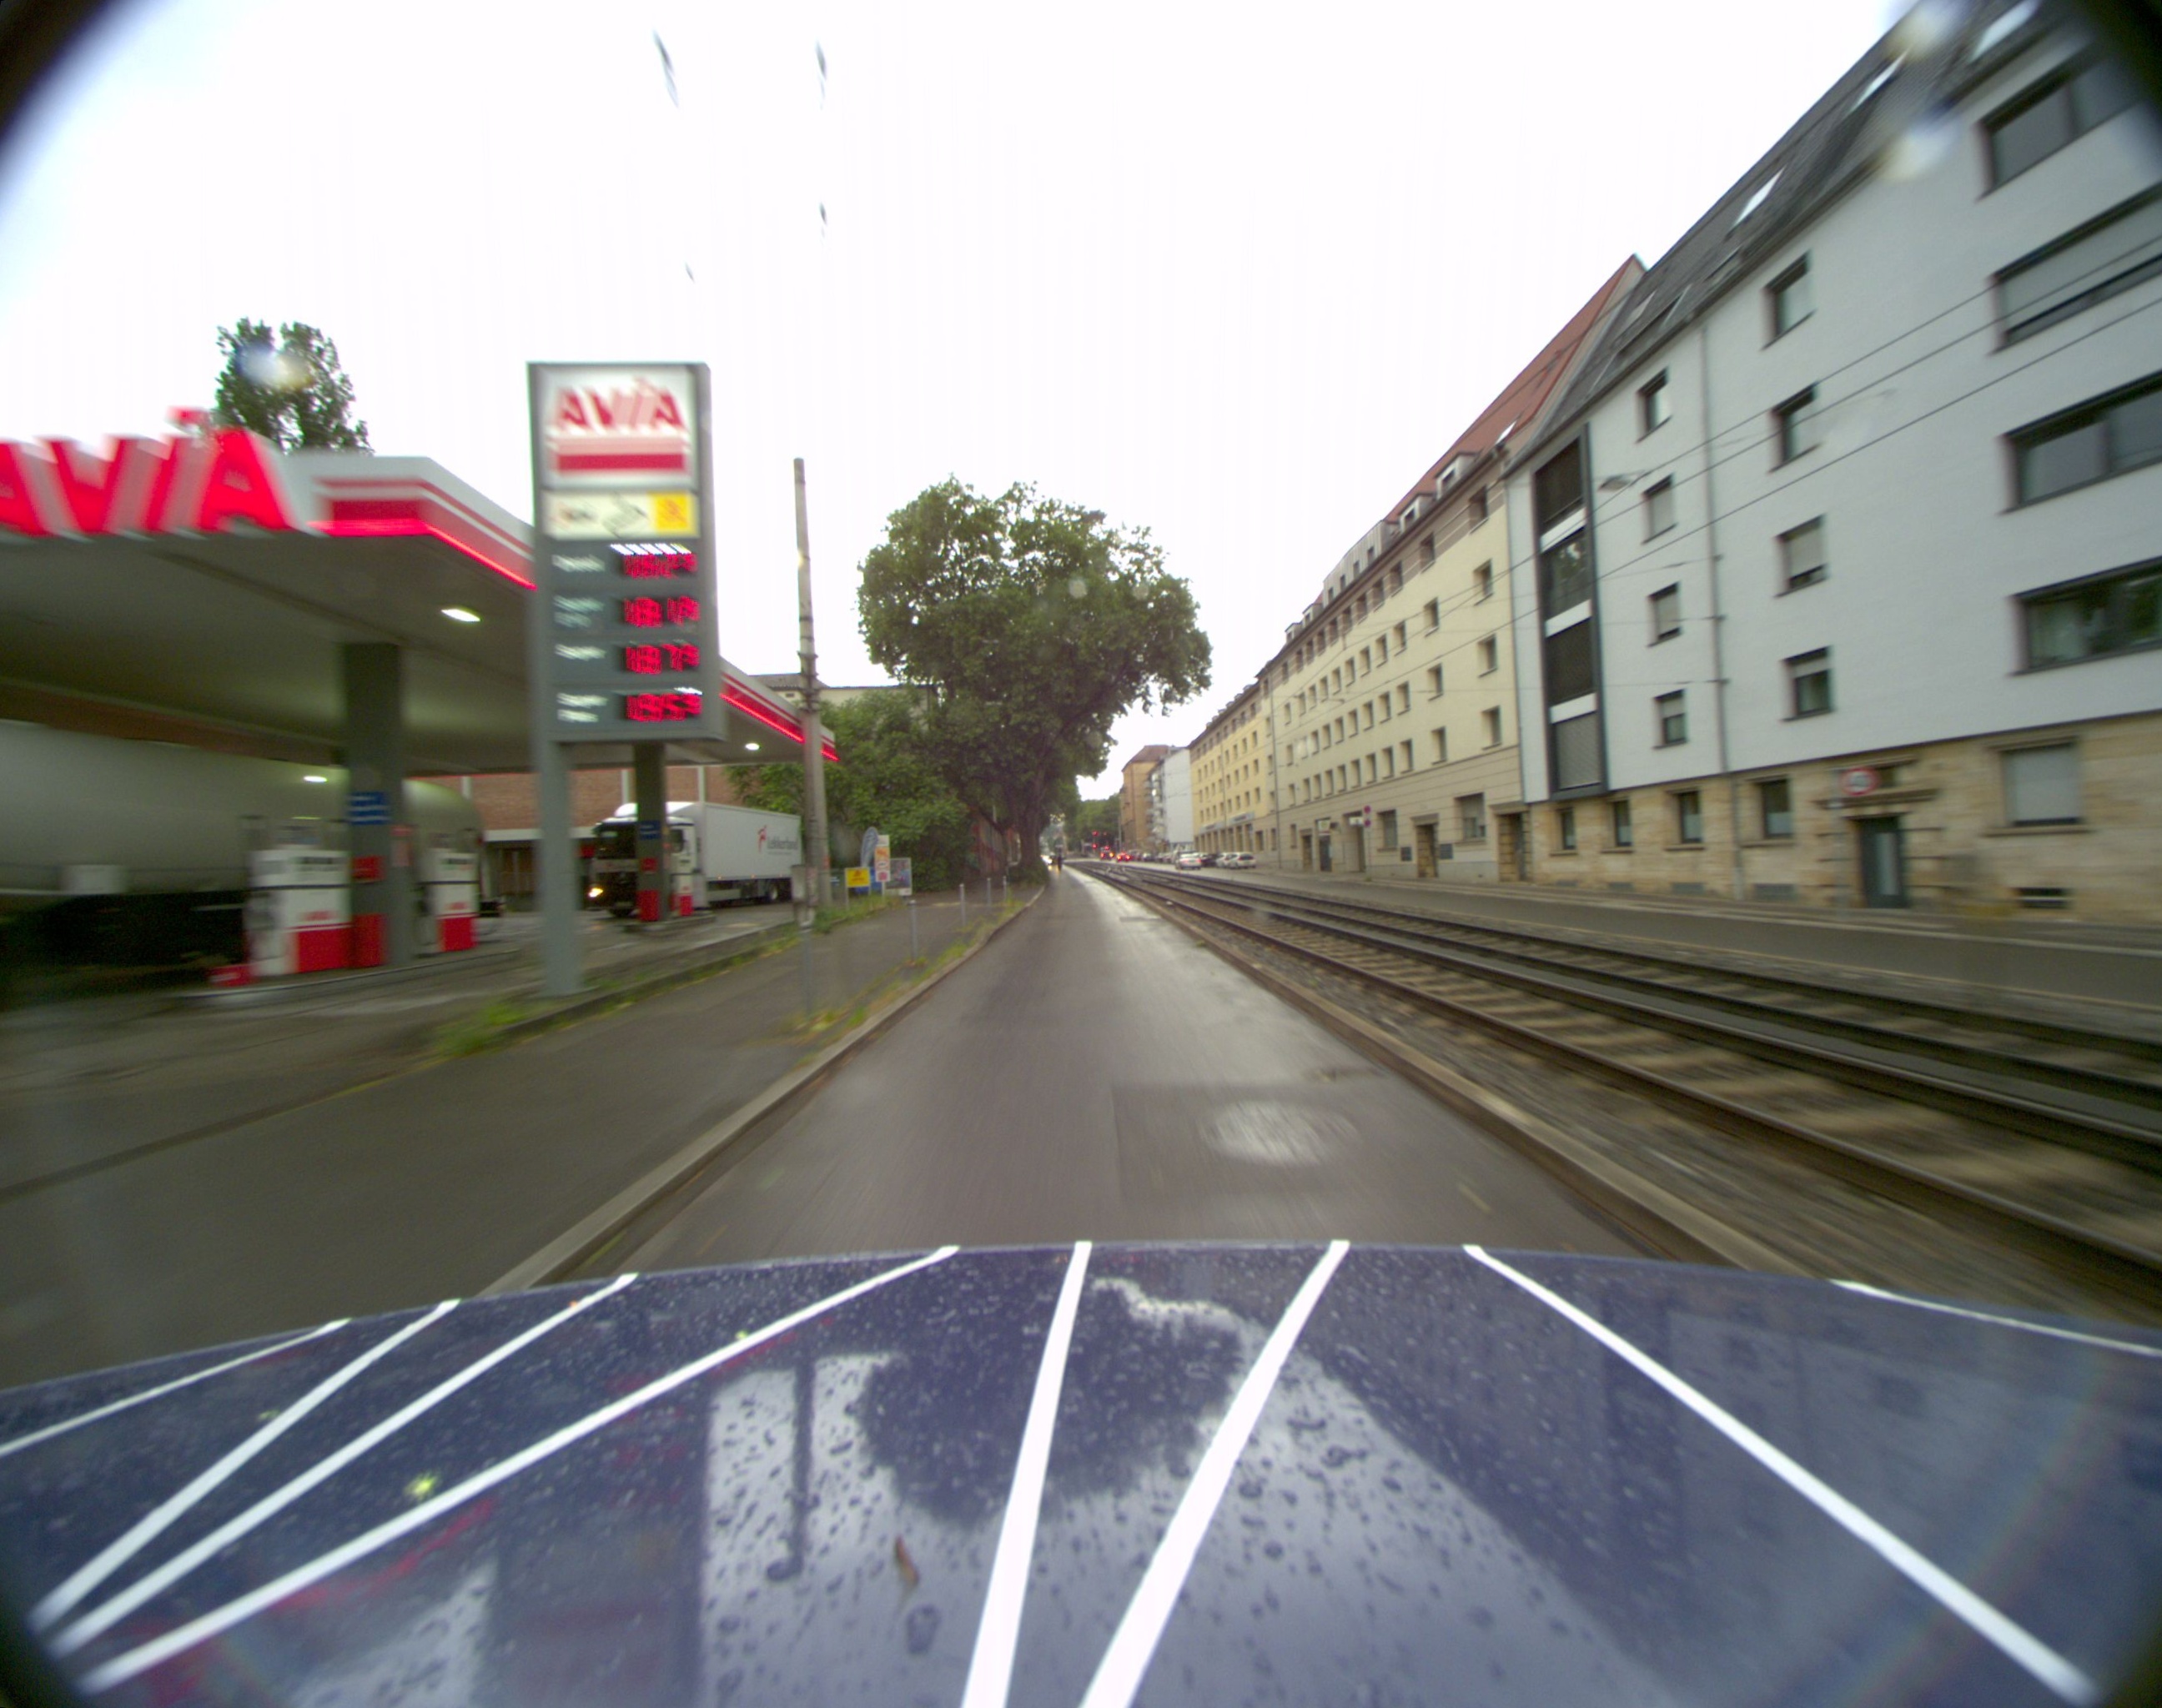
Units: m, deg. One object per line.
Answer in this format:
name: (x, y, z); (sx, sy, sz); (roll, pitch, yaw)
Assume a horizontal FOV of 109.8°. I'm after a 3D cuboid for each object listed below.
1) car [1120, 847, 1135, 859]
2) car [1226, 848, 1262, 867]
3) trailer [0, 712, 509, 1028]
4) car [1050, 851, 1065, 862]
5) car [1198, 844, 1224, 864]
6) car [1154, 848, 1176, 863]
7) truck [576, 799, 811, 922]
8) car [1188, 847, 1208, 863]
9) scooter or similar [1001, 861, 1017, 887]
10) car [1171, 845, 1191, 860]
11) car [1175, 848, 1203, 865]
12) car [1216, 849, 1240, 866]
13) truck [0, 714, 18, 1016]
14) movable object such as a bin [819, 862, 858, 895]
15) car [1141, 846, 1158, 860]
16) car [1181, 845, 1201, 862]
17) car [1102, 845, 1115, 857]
car: (7.528, -0.181, 123.825); (1.949, 2.002, 3.999); (-1, 1, -2)
car: (14.354, 0.279, 67.267); (2.031, 1.533, 3.997); (-1, 1, -5)
trailer: (-13.378, 0.159, 11.529); (2.813, 3.376, 9.829); (-1, 1, -6)
car: (-3.398, 0.394, 109.733); (1.889, 1.482, 3.849); (0, 1, 2)
car: (13.371, 0.007, 78.647); (1.729, 1.949, 4.297); (-1, 1, -3)
car: (11.106, 0.181, 100.550); (2.031, 2.002, 4.225); (-1, 1, -5)
truck: (-13.076, 0.130, 27.193); (2.660, 3.549, 10.255); (-1, 1, 3)
car: (12.936, 0.072, 84.190); (1.377, 1.743, 3.404); (-1, 1, -5)
scooter or similar: (-3.606, 0.987, 38.140); (0.400, 1.186, 1.363); (-1, 3, 12)
car: (12.457, -0.164, 95.251); (1.728, 1.798, 3.590); (-1, 1, -5)
car: (10.200, 0.257, 71.893); (1.691, 1.528, 5.016); (-1, 0, -2)
car: (13.823, 0.308, 71.646); (1.327, 1.476, 3.189); (-1, 1, -5)
truck: (-12.183, 0.130, 5.297); (2.841, 3.380, 6.112); (-1, 0, -25)
movable object such as a bin: (-10.422, 1.045, 32.707); (1.286, 1.392, 1.073); (-1, 0, 0)
car: (10.759, -0.180, 119.718); (2.031, 2.002, 4.225); (-1, 1, -5)
car: (12.887, -0.067, 89.151); (1.557, 1.872, 4.039); (-1, 1, -2)
car: (5.524, -0.593, 151.824); (2.184, 2.420, 4.747); (-1, 1, -2)
